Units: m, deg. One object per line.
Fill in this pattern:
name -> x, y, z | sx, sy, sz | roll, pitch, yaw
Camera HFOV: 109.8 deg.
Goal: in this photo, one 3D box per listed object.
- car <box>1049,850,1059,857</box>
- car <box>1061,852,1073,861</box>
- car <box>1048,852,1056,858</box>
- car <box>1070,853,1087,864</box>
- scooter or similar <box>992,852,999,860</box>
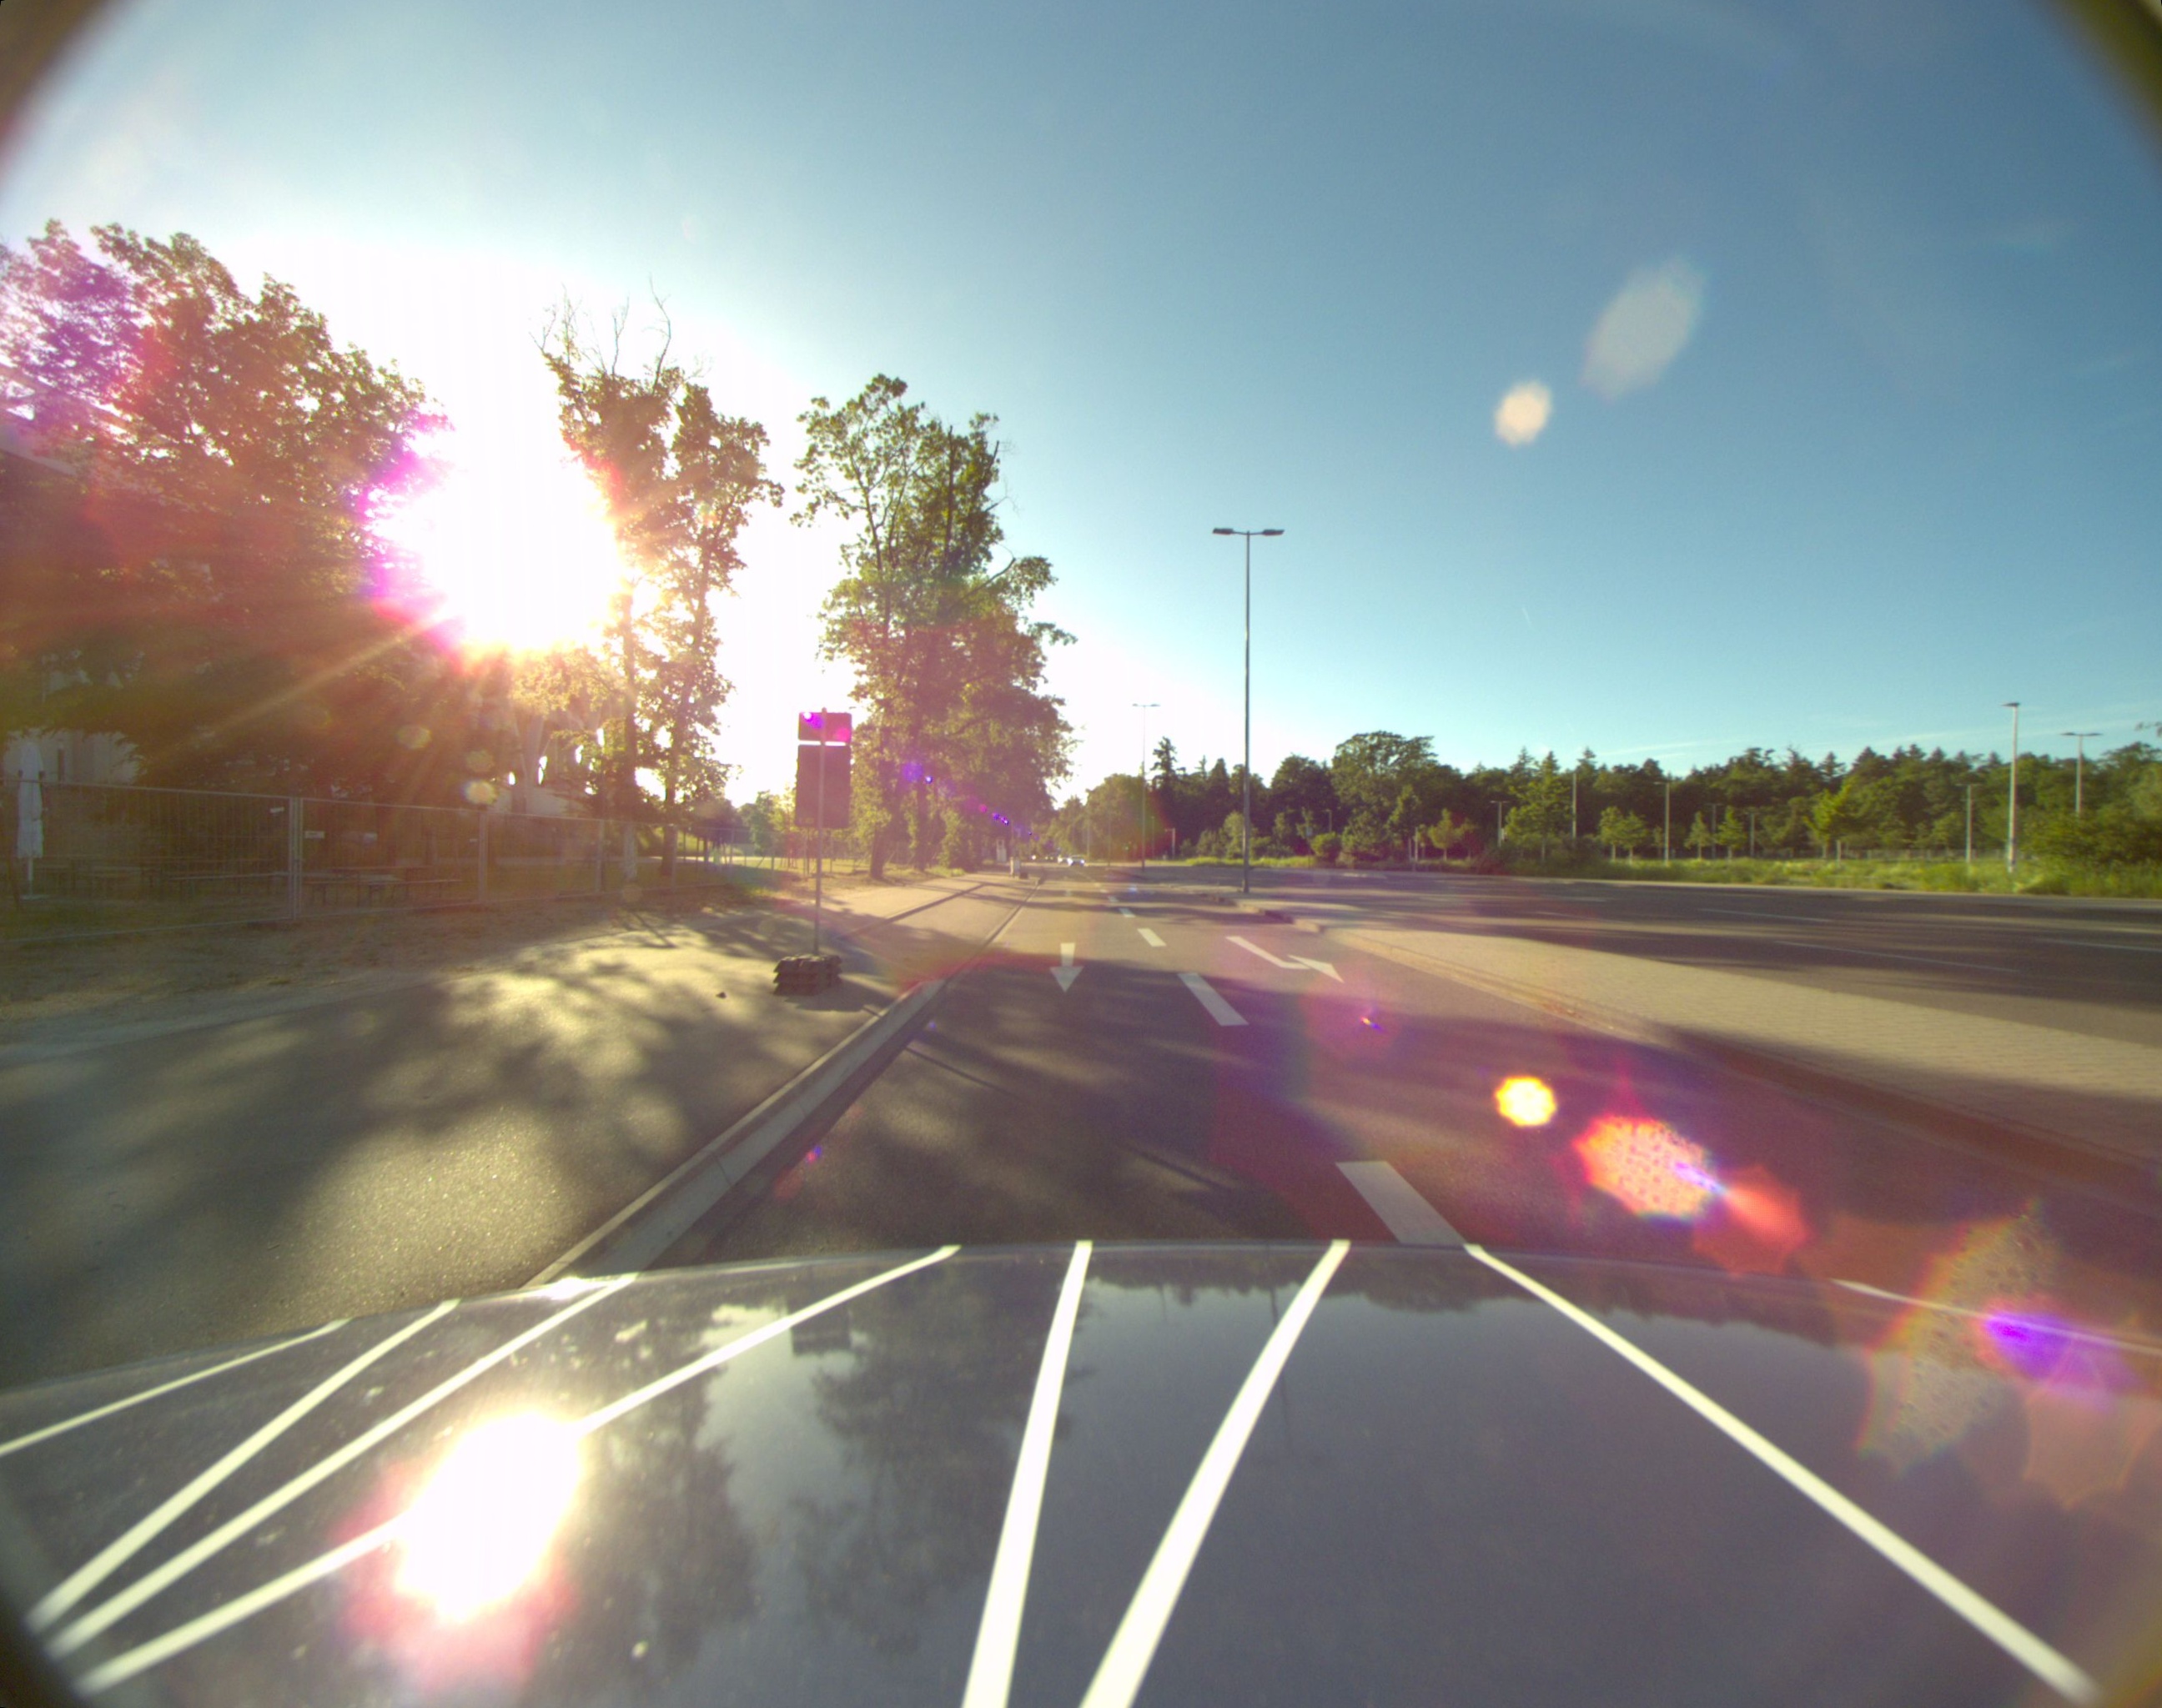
car -> -5.497, -0.095, 155.474 | 1.842, 1.395, 4.989 | -1, 0, -5
car -> -2.326, 0.338, 124.625 | 1.841, 1.395, 4.990 | -1, 0, -3
car -> -7.195, 0.218, 188.973 | 1.842, 1.395, 4.989 | -1, 0, -5
car -> -0.343, 0.528, 98.243 | 1.841, 1.395, 3.998 | -1, 0, -3
scooter or similar -> -14.264, 0.348, 126.796 | 1.303, 1.230, 0.334 | 0, 0, -38
